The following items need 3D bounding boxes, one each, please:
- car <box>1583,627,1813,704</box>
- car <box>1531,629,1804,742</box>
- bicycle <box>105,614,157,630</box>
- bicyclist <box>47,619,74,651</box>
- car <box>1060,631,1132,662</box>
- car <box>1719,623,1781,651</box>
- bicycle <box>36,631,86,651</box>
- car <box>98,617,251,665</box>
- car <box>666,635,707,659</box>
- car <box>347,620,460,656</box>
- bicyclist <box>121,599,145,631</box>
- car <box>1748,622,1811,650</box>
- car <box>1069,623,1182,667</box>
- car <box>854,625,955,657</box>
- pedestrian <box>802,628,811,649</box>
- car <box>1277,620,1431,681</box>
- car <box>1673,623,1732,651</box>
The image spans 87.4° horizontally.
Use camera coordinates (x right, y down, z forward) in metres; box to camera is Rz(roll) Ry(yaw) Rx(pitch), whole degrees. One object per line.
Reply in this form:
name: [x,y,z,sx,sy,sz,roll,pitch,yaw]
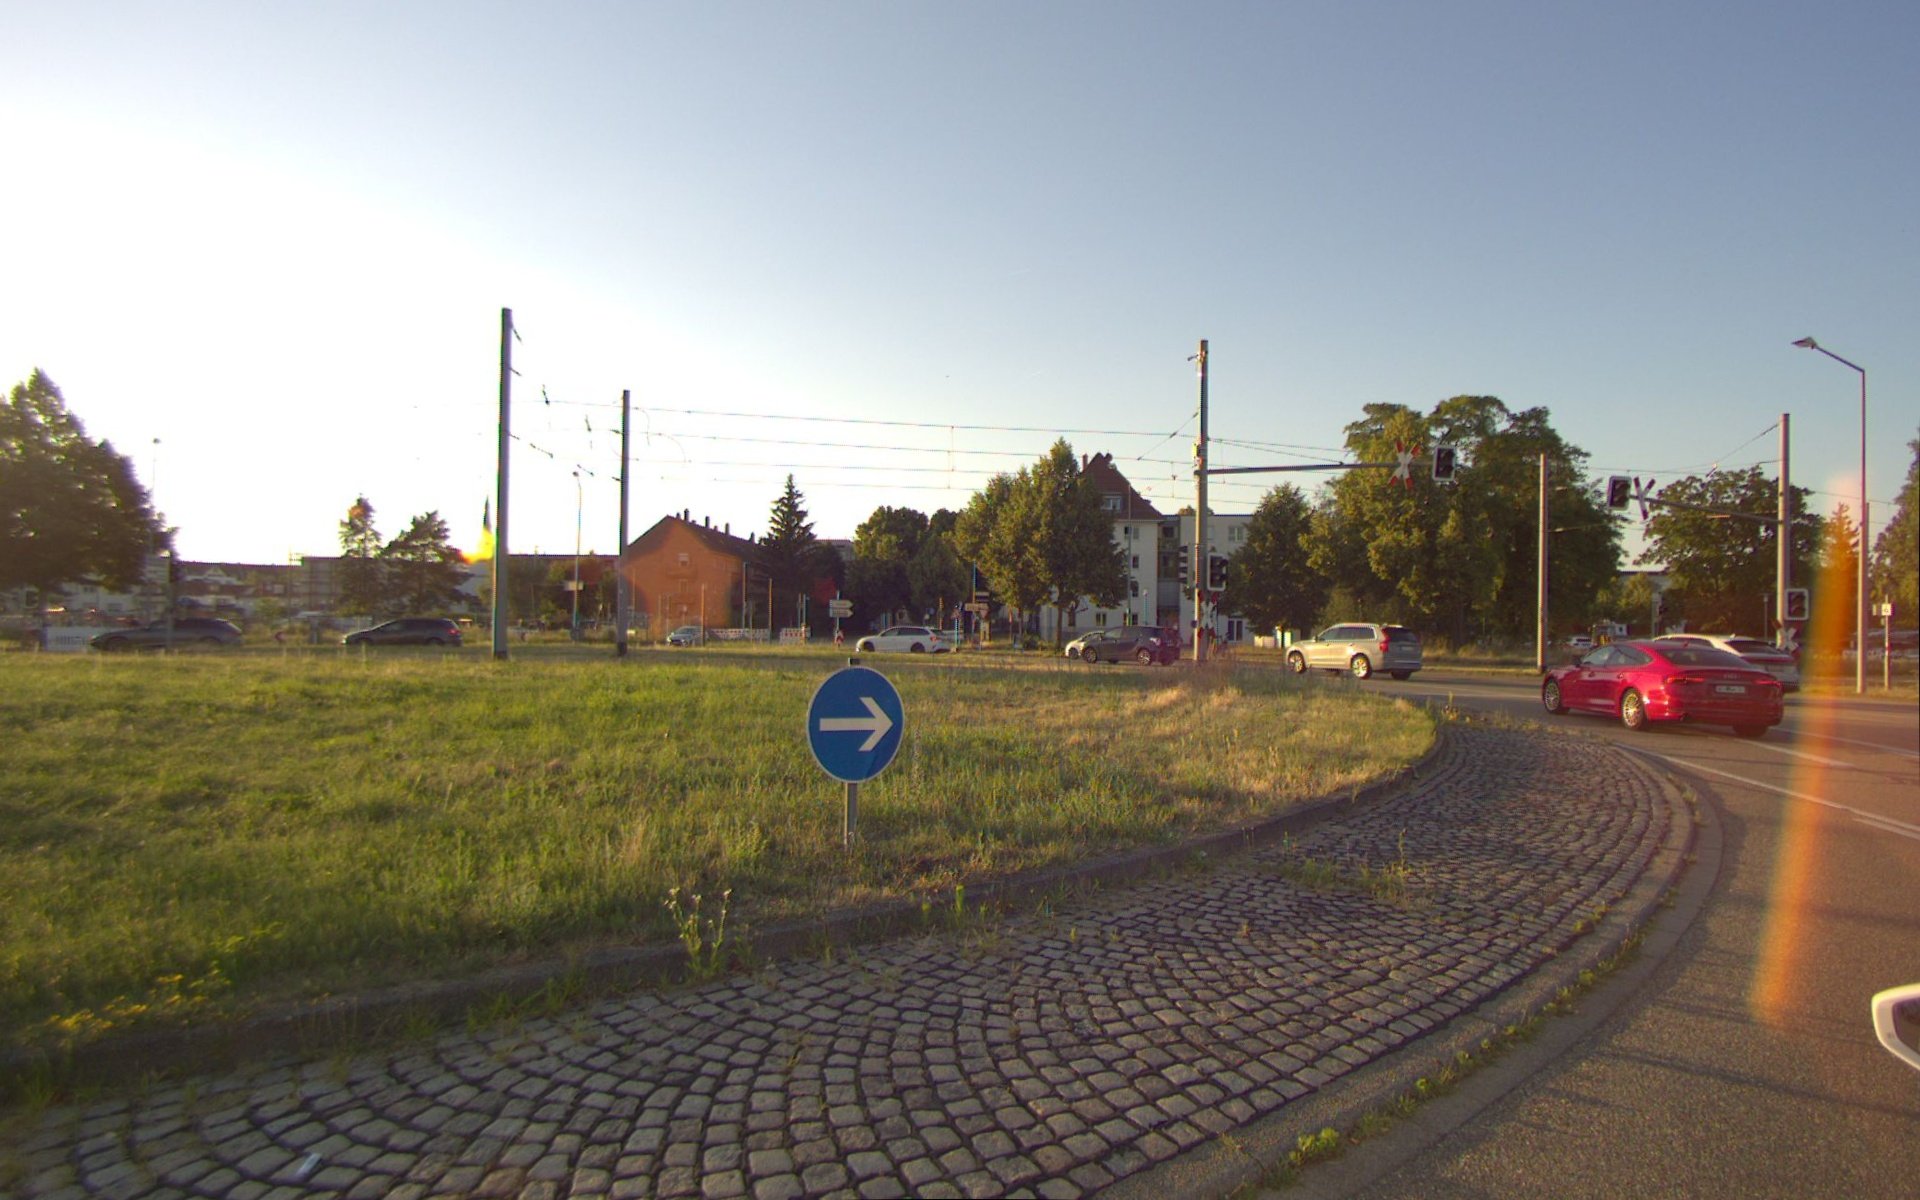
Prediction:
car: [19.334,1.638,26.659,1.880,1.733,4.930,1,0,-12]
car: [11.301,1.267,16.506,1.808,1.480,4.584,0,0,9]
bicycle: [-44.198,1.161,53.577,2.102,0.857,0.510,0,-1,-19]
bicyclist: [-46.664,1.803,52.114,0.800,1.662,0.814,0,-1,26]
car: [7.076,2.390,52.496,3.433,1.462,1.547,1,-1,39]
car: [63.332,2.944,80.575,1.960,2.126,4.001,1,-1,2]
bicycle: [-46.676,2.103,52.161,0.539,0.993,1.842,0,-1,26]
car: [-30.673,1.570,39.415,4.548,1.771,1.736,1,-1,-33]
car: [-18.624,3.195,68.642,1.596,1.506,4.001,1,-1,2]
car: [-23.636,1.587,42.828,4.079,1.486,1.741,1,-1,-25]
bicyclist: [-44.037,0.811,53.506,0.786,1.655,0.693,0,-1,-18]
car: [65.933,2.852,80.903,1.960,2.126,4.001,1,-1,2]
car: [6.833,1.840,41.817,4.395,1.654,1.792,1,-1,45]
car: [-2.624,1.922,47.633,4.461,1.468,1.727,0,-1,22]
pedestrian: [-10.583,2.654,69.398,0.540,1.392,0.356,1,-1,-21]
car: [12.892,1.603,33.259,1.895,1.778,4.896,2,-1,-22]
car: [59.995,2.958,81.224,1.960,2.126,4.001,1,-1,2]
